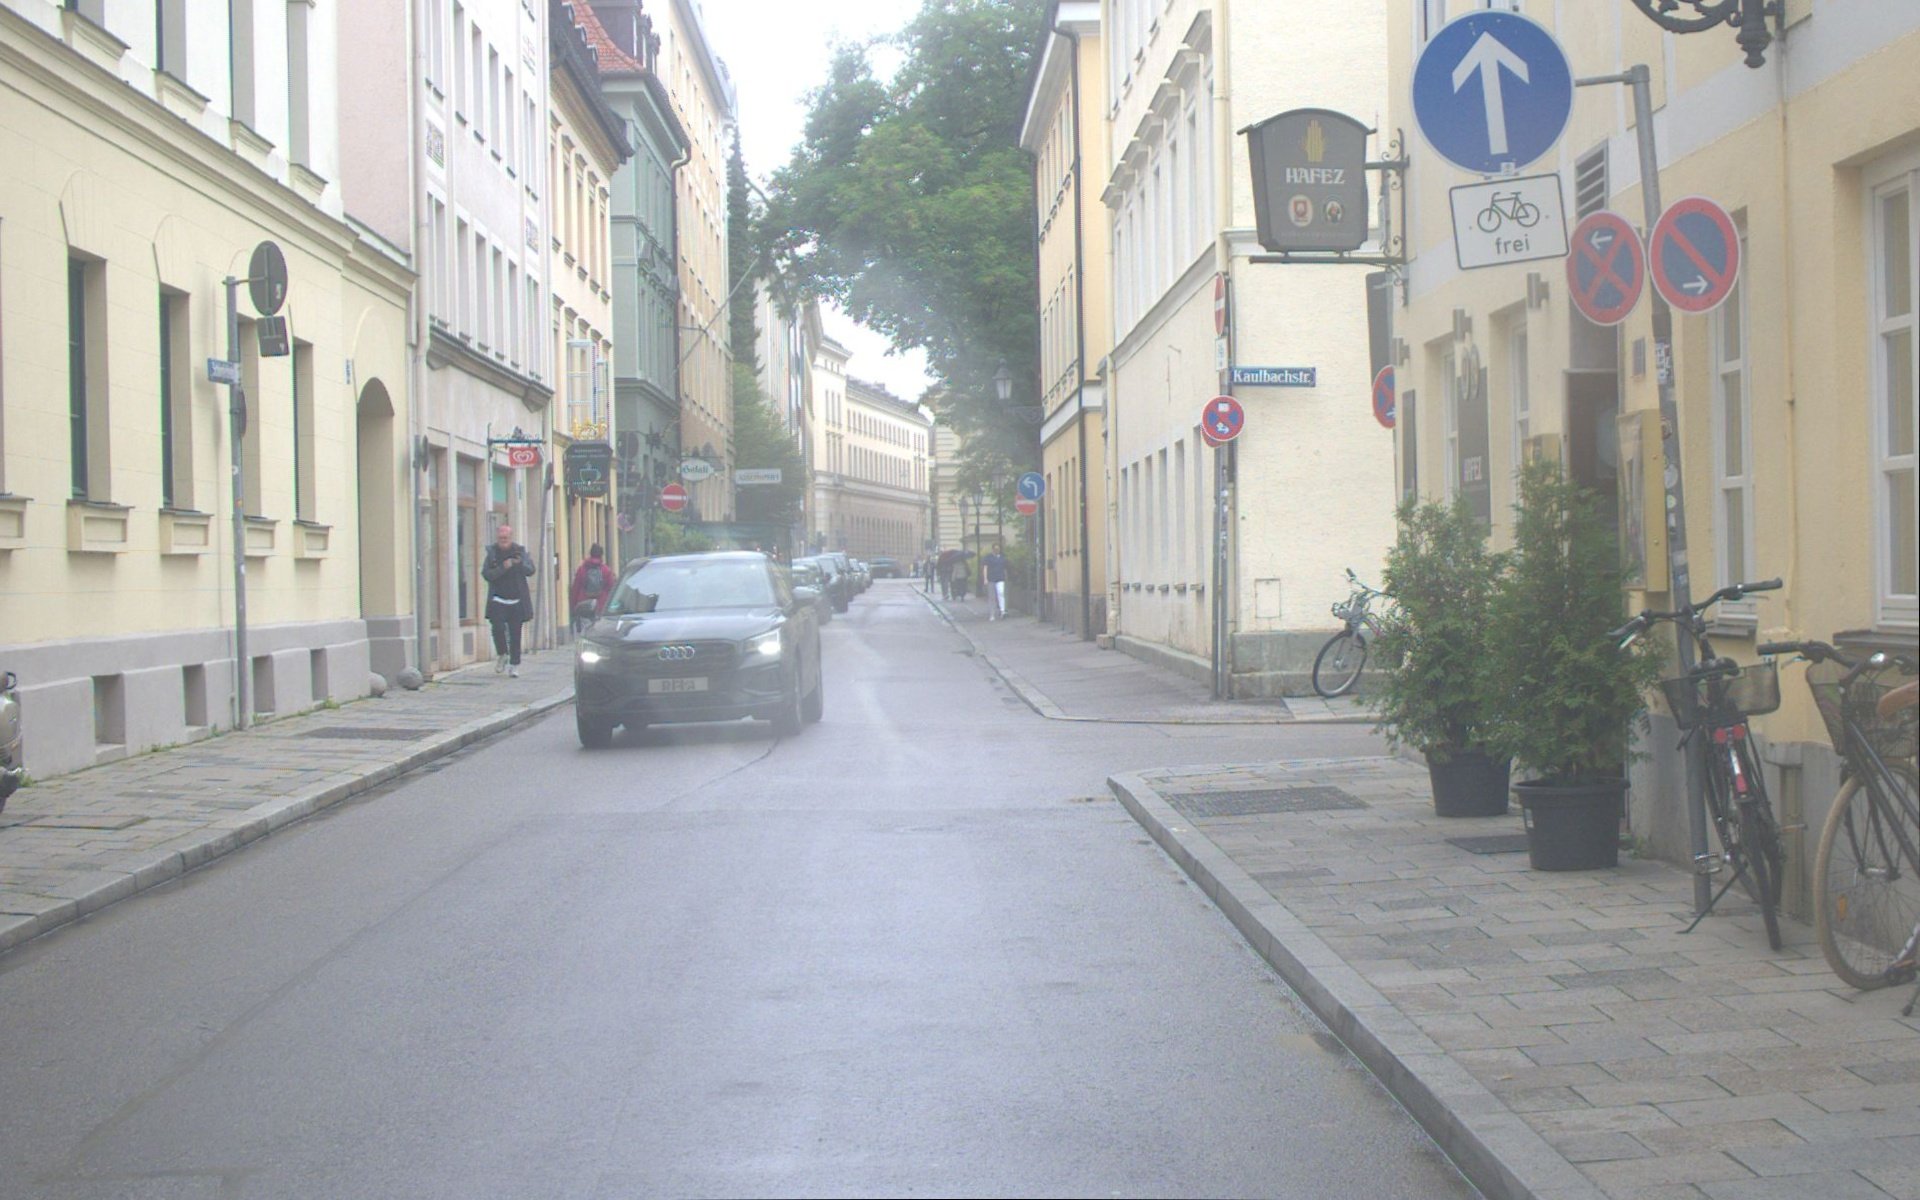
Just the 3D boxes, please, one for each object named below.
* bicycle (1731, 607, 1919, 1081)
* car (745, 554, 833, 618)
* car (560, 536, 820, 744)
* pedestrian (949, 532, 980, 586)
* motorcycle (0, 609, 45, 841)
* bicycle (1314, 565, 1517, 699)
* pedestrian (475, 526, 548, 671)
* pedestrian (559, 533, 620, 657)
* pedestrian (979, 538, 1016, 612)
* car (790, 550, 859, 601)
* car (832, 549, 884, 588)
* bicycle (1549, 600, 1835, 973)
[{"bbox_3d":[2.686,0.622,9.600,0.565,1.133,1.988,-3,1,0],"label":"bicycle"},{"bbox_3d":[-4.010,-0.336,80.956,1.779,1.461,3.662,0,1,2],"label":"car"},{"bbox_3d":[-2.179,0.279,28.675,1.812,1.588,4.000,-1,1,0],"label":"car"},{"bbox_3d":[0.147,-1.379,115.693,1.015,1.796,1.349,0,1,0],"label":"pedestrian"},{"bbox_3d":[-5.227,0.650,17.662,0.602,1.170,1.709,0,1,-1],"label":"motorcycle"},{"bbox_3d":[4.174,0.290,31.546,1.757,1.140,0.586,-2,3,0],"label":"bicycle"},{"bbox_3d":[-5.514,-0.028,42.330,0.809,1.749,0.990,0,2,-3],"label":"pedestrian"},{"bbox_3d":[-5.183,-0.078,48.145,0.765,1.702,0.785,-1,1,-3],"label":"pedestrian"},{"bbox_3d":[0.917,-0.606,84.014,0.880,1.796,1.046,0,1,0],"label":"pedestrian"},{"bbox_3d":[-3.968,-0.739,100.983,1.779,1.461,3.542,0,1,2],"label":"car"},{"bbox_3d":[-3.869,-1.199,130.713,1.779,1.461,3.542,0,1,2],"label":"car"},{"bbox_3d":[2.483,0.596,11.818,0.565,1.133,1.684,-3,1,0],"label":"bicycle"}]
